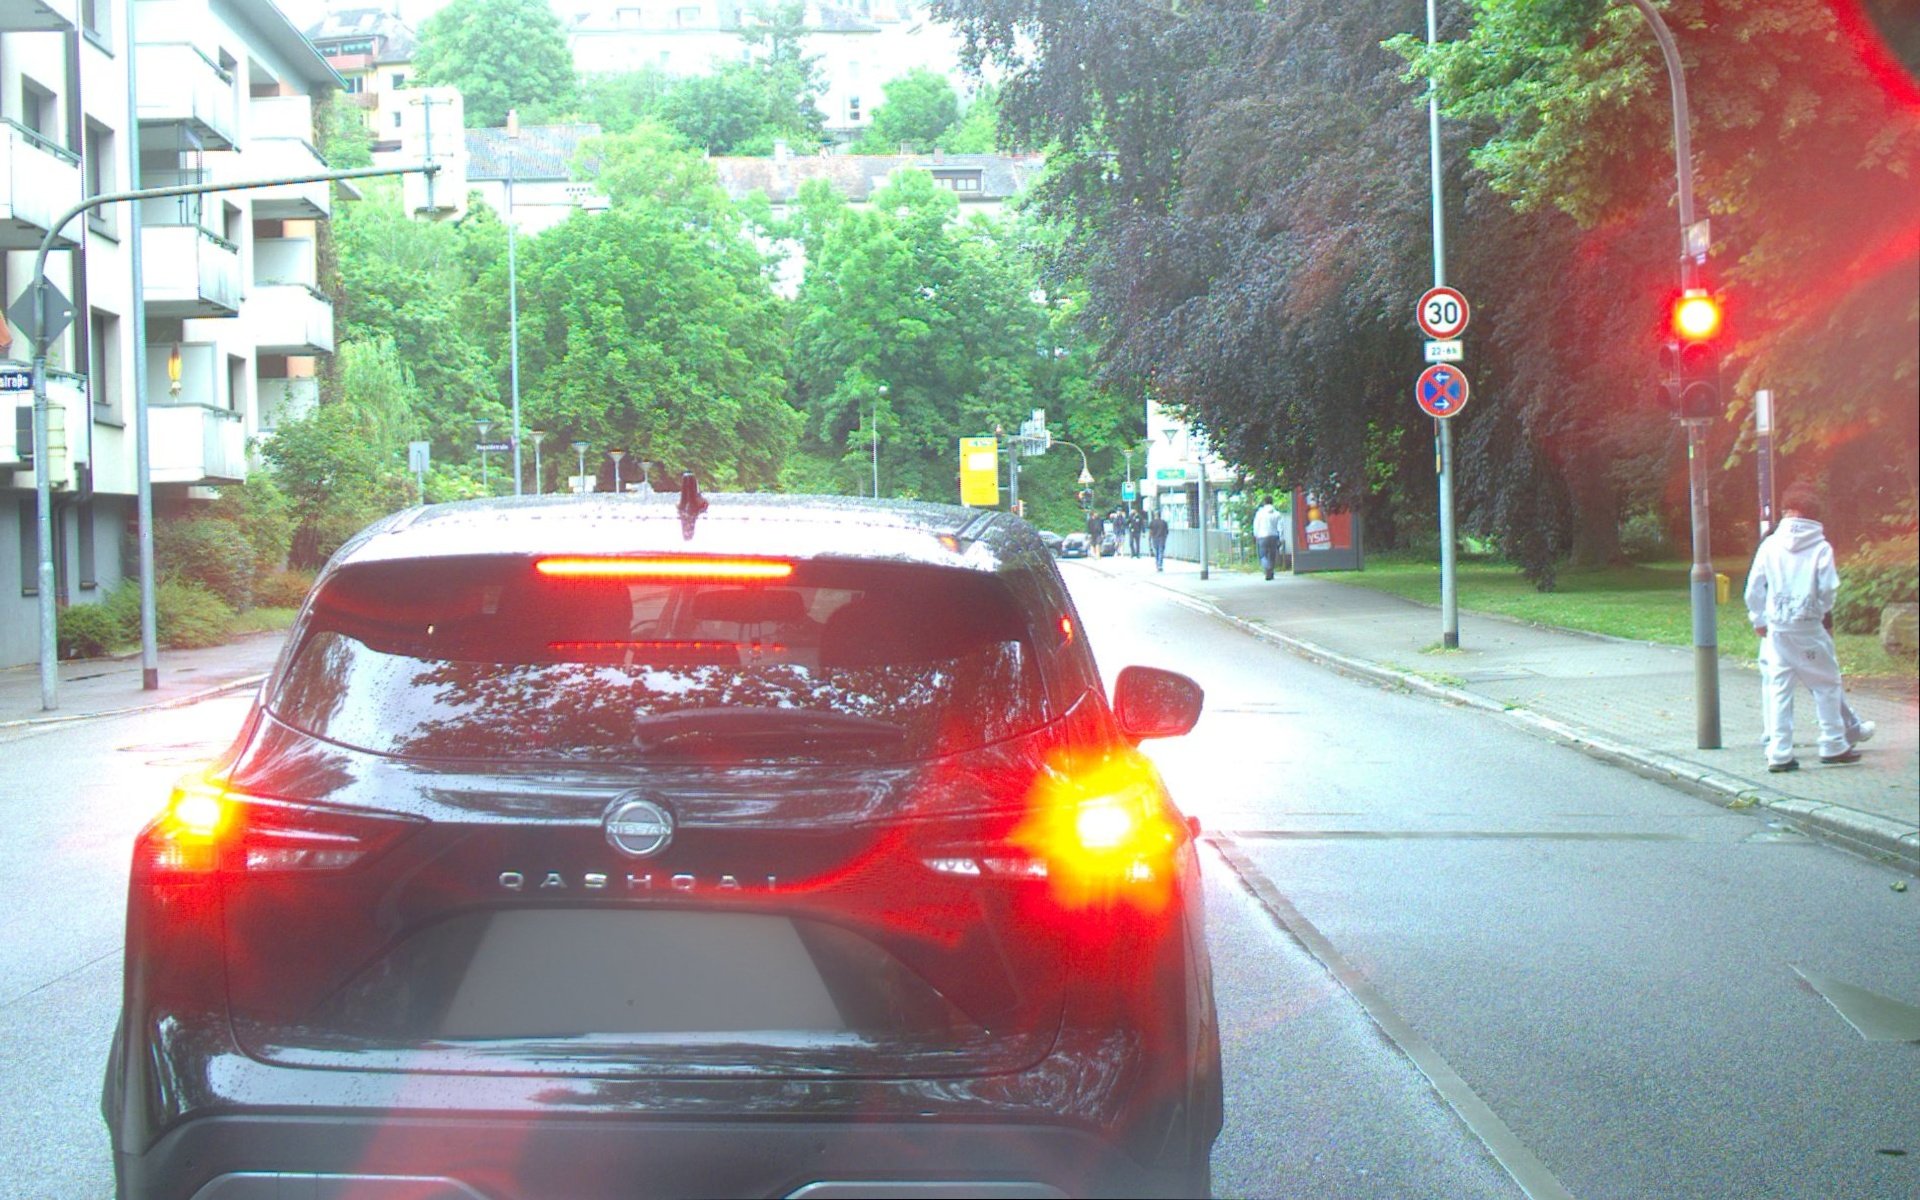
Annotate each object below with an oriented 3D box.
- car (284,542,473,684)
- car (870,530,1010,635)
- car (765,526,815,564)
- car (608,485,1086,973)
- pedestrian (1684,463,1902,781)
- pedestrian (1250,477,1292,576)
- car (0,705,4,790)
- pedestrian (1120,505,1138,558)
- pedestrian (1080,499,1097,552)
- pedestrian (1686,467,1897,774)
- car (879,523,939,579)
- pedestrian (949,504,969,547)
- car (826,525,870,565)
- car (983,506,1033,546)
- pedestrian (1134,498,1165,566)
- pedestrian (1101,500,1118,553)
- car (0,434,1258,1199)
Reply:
[{"bbox_3d":[-6.858,0.114,40.855,1.795,1.528,3.868,-2,1,-4],"label":"car"},{"bbox_3d":[-0.337,-0.288,50.538,1.825,1.399,4.651,-2,1,-3],"label":"car"},{"bbox_3d":[-7.259,-2.353,147.118,1.970,1.527,3.968,-2,1,-1],"label":"car"},{"bbox_3d":[-0.435,0.438,14.494,1.698,1.739,3.641,-2,1,-1],"label":"car"},{"bbox_3d":[5.118,0.126,21.147,1.035,1.869,0.658,-4,1,-11],"label":"pedestrian"},{"bbox_3d":[6.451,-1.525,71.425,0.725,2.007,0.851,-2,1,0],"label":"pedestrian"},{"bbox_3d":[-8.543,0.585,23.340,3.862,1.528,1.798,-2,1,33],"label":"car"},{"bbox_3d":[5.804,-2.364,118.237,0.508,1.796,0.619,-2,1,-2],"label":"pedestrian"},{"bbox_3d":[4.420,-2.573,118.273,0.508,1.796,0.619,-2,1,-1],"label":"pedestrian"},{"bbox_3d":[5.290,0.119,21.899,1.035,1.869,0.658,-4,1,-11],"label":"pedestrian"},{"bbox_3d":[-1.458,-1.423,98.643,1.634,1.527,3.968,-2,1,-1],"label":"car"},{"bbox_3d":[-0.035,-2.918,135.127,0.509,1.667,0.658,-2,1,27],"label":"pedestrian"},{"bbox_3d":[-4.471,-2.198,137.542,1.634,1.527,3.968,-2,1,-1],"label":"car"},{"bbox_3d":[2.165,-3.313,155.086,1.994,1.729,3.999,1,1,4],"label":"car"},{"bbox_3d":[5.126,-1.840,93.065,0.509,1.796,0.618,-1,1,39],"label":"pedestrian"},{"bbox_3d":[5.150,-2.516,118.269,0.508,1.796,0.659,-2,1,6],"label":"pedestrian"},{"bbox_3d":[-0.541,0.556,7.026,1.913,1.674,4.000,0,1,0],"label":"car"}]
